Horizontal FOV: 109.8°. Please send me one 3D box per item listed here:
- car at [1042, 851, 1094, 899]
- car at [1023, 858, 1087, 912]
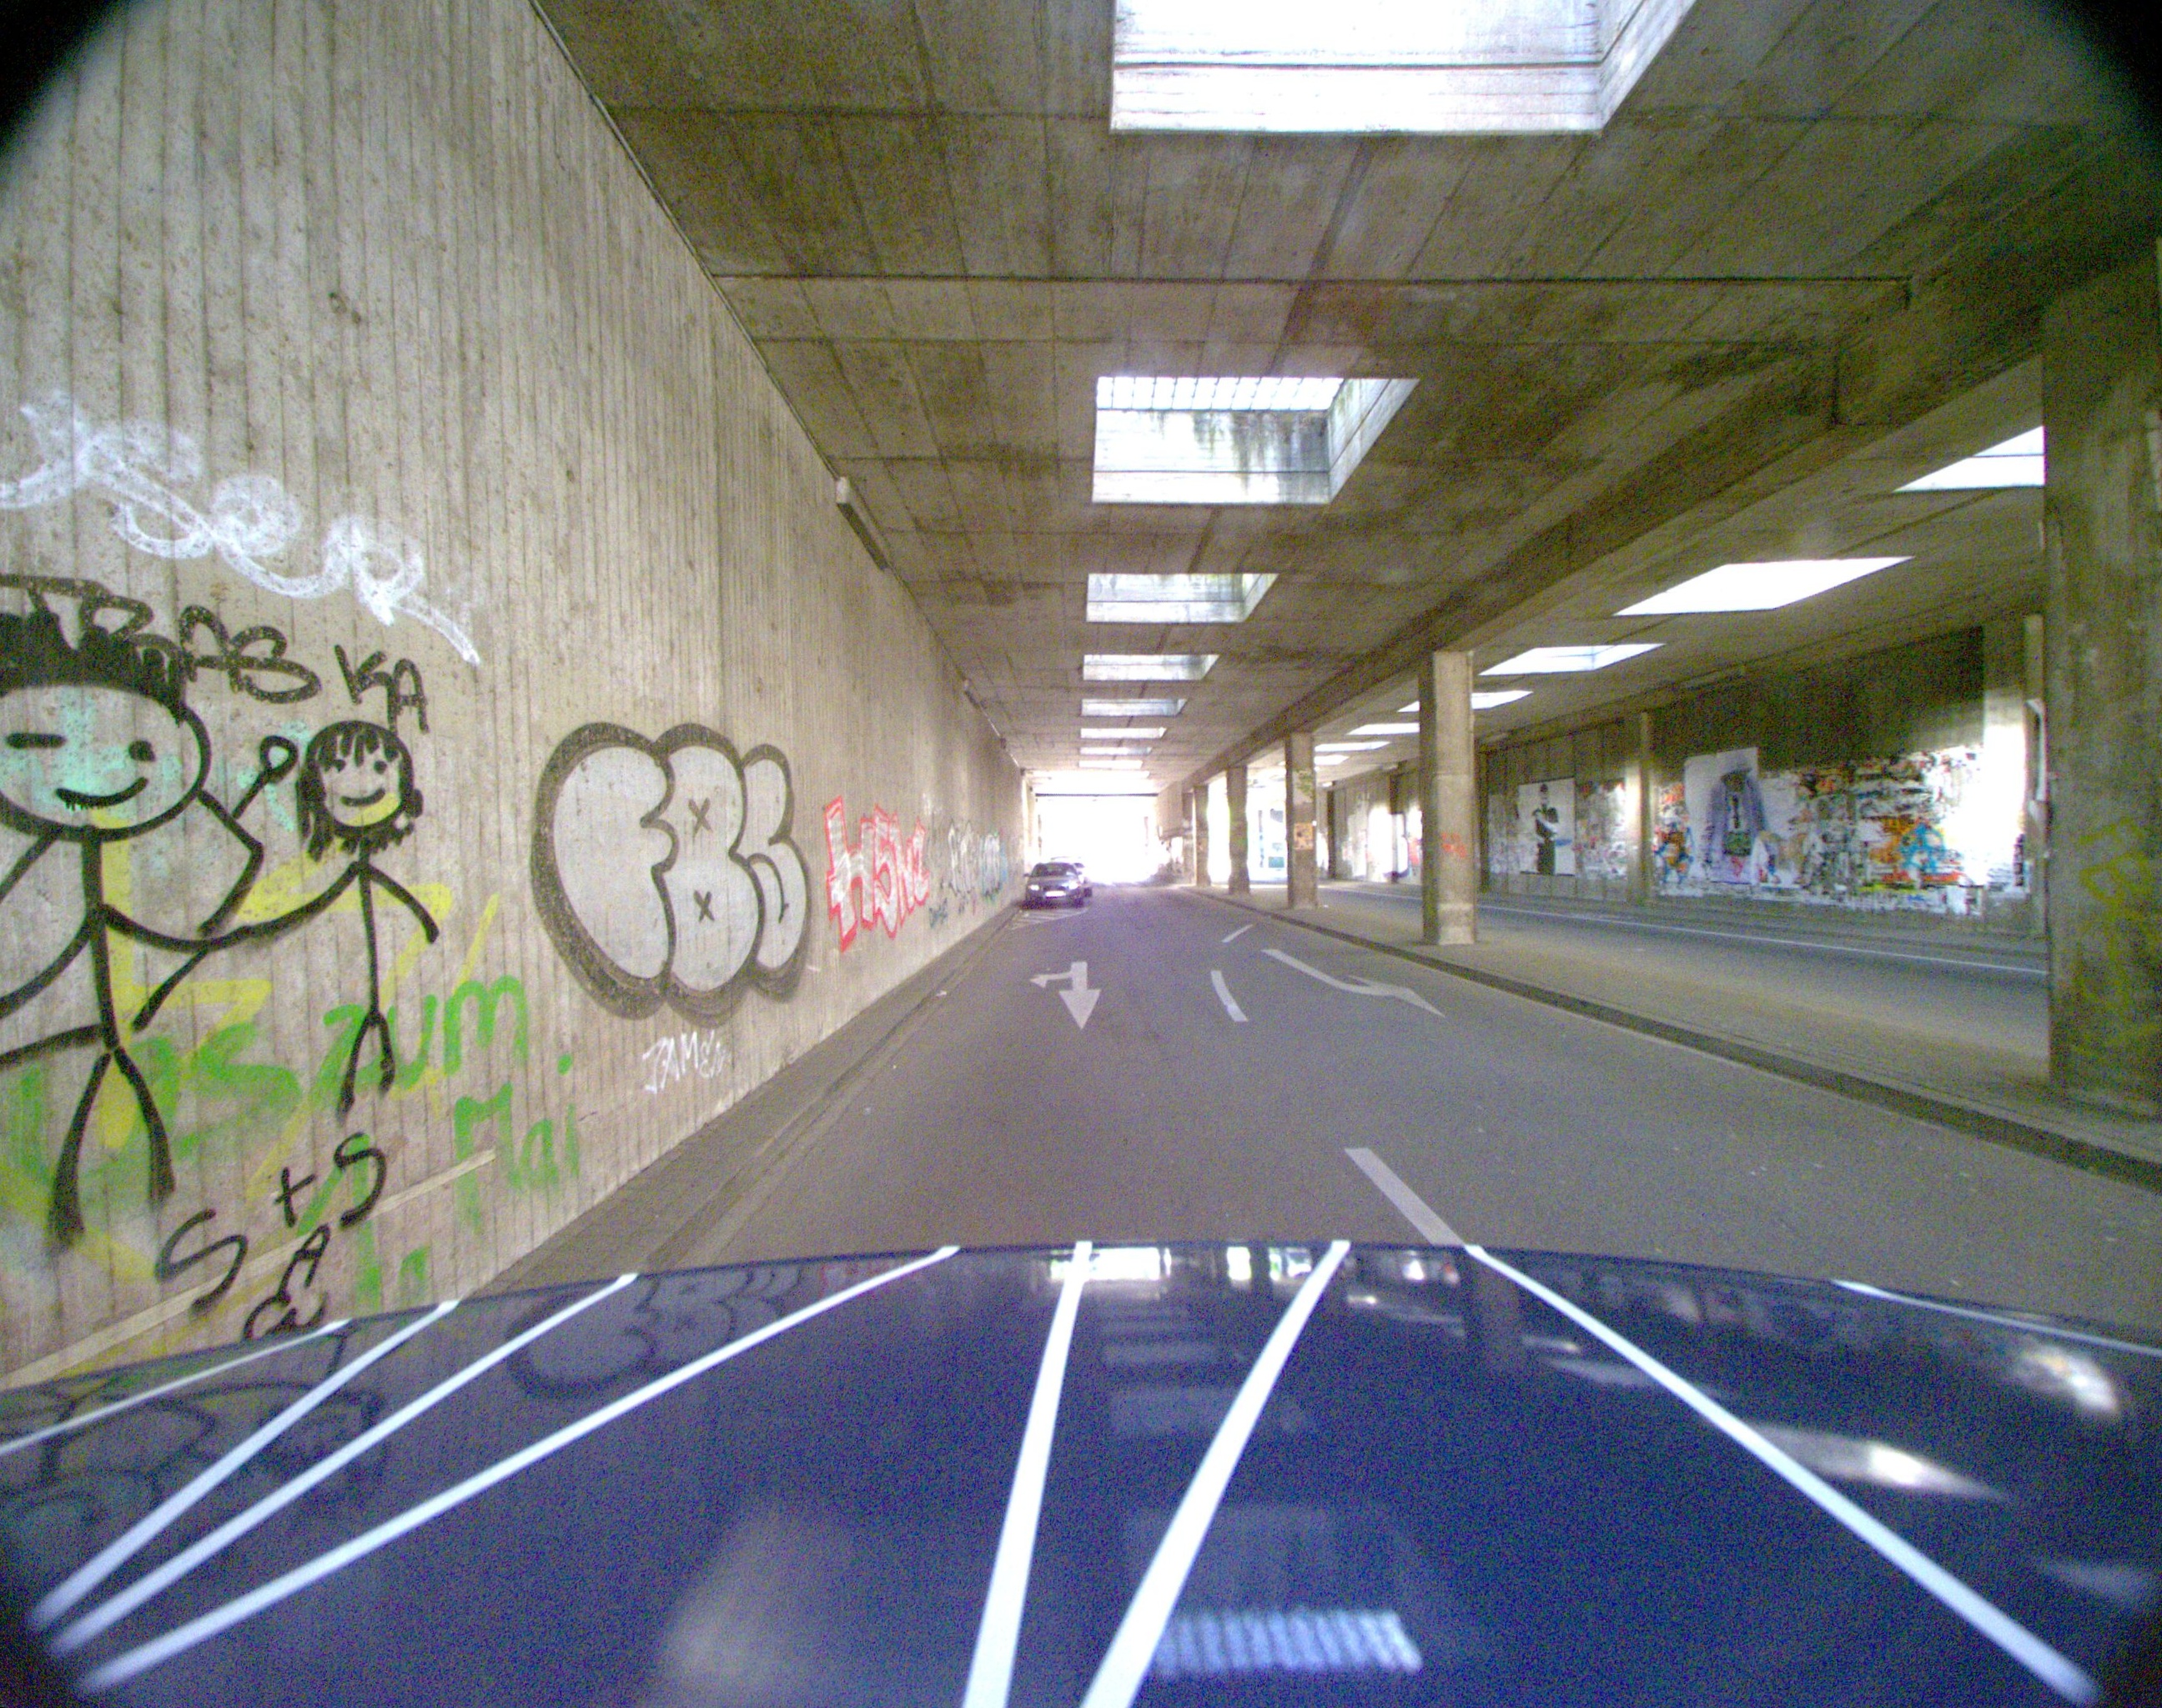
[{"bbox_3d":[-0.449,0.754,29.910,1.861,1.709,4.000,-2,0,1],"label":"car"},{"bbox_3d":[-0.735,0.905,24.045,1.808,1.460,4.000,-2,0,1],"label":"car"}]
